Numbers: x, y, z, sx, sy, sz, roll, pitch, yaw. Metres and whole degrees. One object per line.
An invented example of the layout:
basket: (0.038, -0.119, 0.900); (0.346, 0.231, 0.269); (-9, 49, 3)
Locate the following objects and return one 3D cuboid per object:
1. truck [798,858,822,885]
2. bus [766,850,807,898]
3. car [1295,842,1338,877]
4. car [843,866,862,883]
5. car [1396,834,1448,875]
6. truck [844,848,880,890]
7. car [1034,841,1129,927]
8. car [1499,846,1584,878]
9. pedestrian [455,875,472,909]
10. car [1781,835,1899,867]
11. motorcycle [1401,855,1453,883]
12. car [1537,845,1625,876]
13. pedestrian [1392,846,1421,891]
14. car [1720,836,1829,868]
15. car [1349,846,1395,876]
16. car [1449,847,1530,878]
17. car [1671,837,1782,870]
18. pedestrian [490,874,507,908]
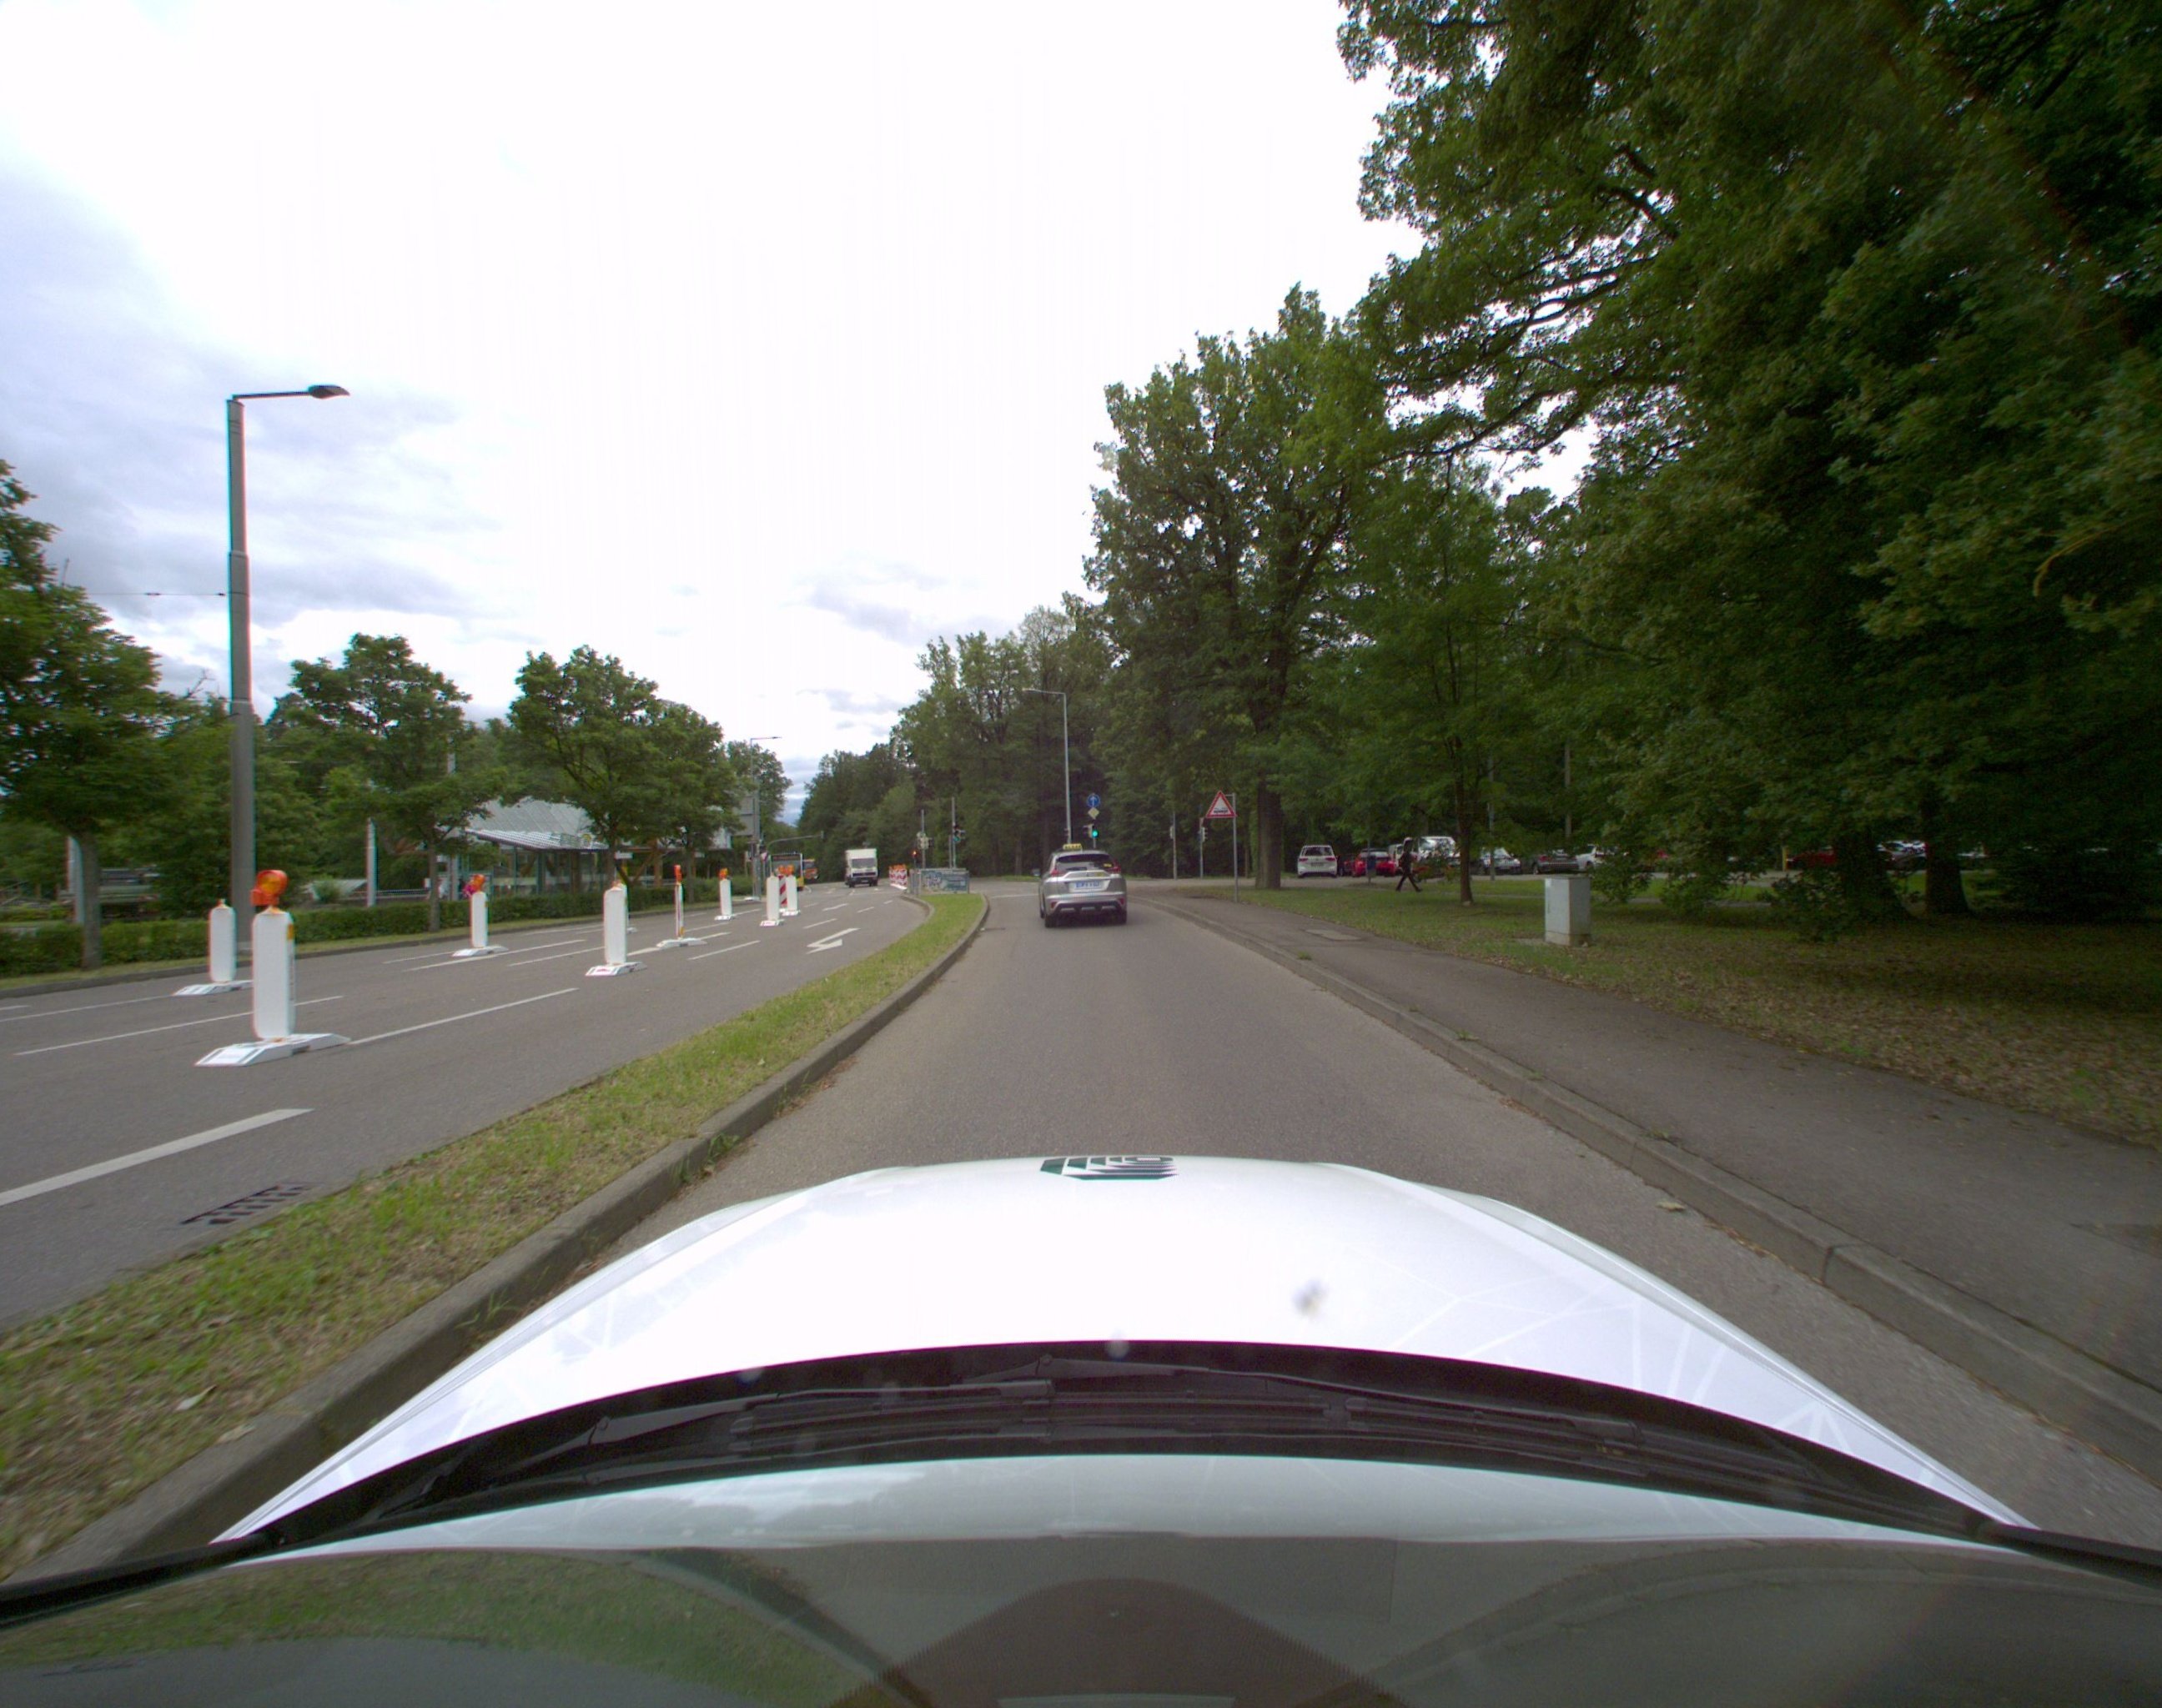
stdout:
truck: (-37.180, 2.453, 111.599); (2.494, 3.287, 8.453); (-2, -2, -23)
bus: (-24.991, 1.615, 68.948); (2.832, 3.603, 12.714); (-2, 0, -21)
car: (11.252, 0.222, 38.754); (1.820, 1.536, 4.018); (-2, 0, 17)
car: (-22.965, 2.031, 81.927); (1.561, 1.528, 3.801); (-1, 0, -19)
car: (15.925, 0.009, 38.175); (1.820, 1.762, 4.018); (-2, 0, 17)
truck: (-18.804, 1.251, 69.603); (2.490, 3.286, 8.467); (-2, 0, -18)
car: (-0.095, 0.658, 18.725); (1.772, 1.748, 3.772); (-1, -1, -6)
car: (20.954, 0.343, 37.241); (1.552, 1.326, 3.822); (-2, 0, -3)
pedestrian: (-29.753, 1.823, 39.220); (0.554, 1.625, 0.495); (-1, 0, 37)
car: (33.438, -0.123, 36.030); (1.552, 1.326, 3.822); (-2, 0, -3)
motorcycle: (13.847, 0.595, 32.598); (1.815, 1.057, 0.617); (-1, 0, 11)
car: (23.034, 0.295, 37.653); (1.552, 1.326, 3.822); (-2, 0, -3)
pedestrian: (11.360, 0.498, 28.474); (0.834, 1.506, 0.794); (-2, 0, 16)
car: (31.362, -0.082, 36.987); (1.552, 1.326, 3.822); (-2, 0, -3)
car: (13.637, 0.301, 38.303); (1.820, 1.326, 4.018); (-2, 0, 17)
car: (18.704, 0.378, 37.515); (1.552, 1.326, 3.996); (-2, 0, -3)
car: (28.621, -0.024, 36.180); (3.805, 1.326, 1.559); (-2, 0, -4)
pedestrian: (-28.562, 1.800, 39.905); (0.554, 1.625, 0.495); (-1, 0, 37)
